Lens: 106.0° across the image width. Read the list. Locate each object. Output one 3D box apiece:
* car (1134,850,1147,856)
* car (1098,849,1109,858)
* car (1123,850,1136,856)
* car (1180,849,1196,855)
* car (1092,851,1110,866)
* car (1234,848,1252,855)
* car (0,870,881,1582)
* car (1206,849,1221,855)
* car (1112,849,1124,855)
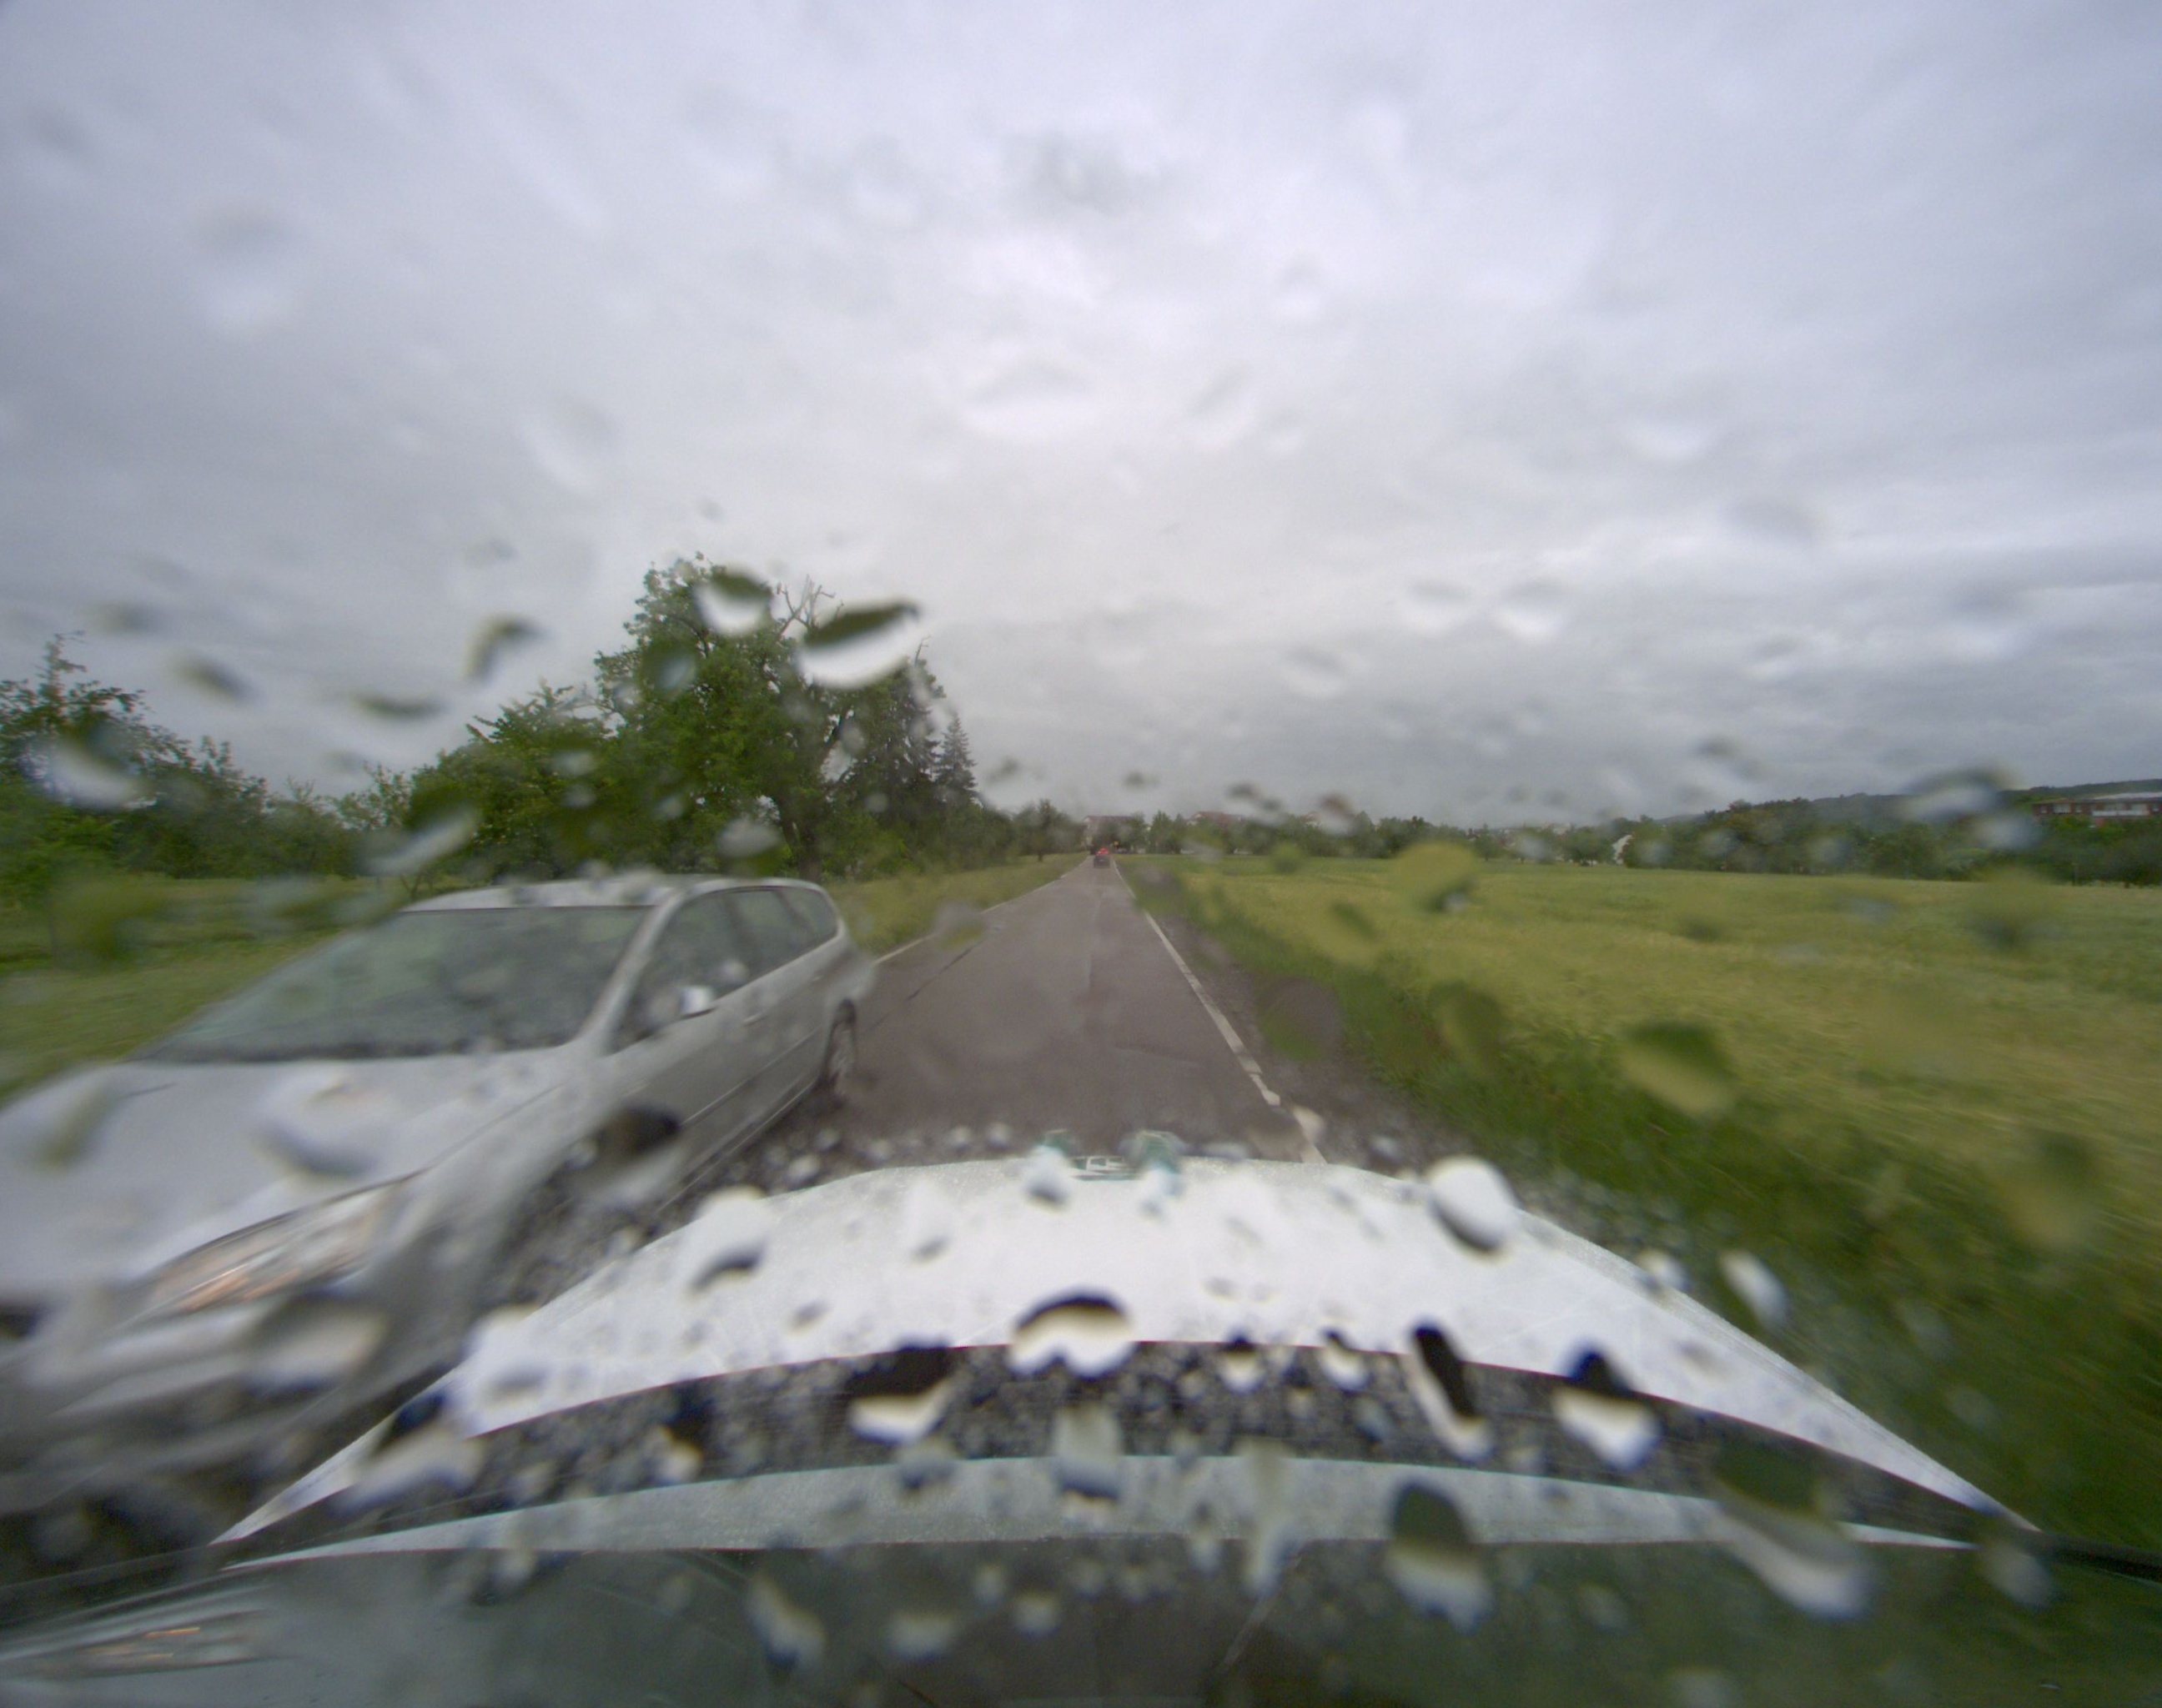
[{"bbox_3d":[16.018,-0.267,218.955,1.645,1.546,4.025,-1,-1,37],"label":"car"},{"bbox_3d":[4.208,-0.096,152.173,1.807,1.594,4.002,0,-1,3],"label":"car"},{"bbox_3d":[12.829,-0.338,214.774,1.645,1.546,4.025,-1,-1,37],"label":"car"},{"bbox_3d":[23.770,-0.457,180.482,3.365,1.371,1.554,0,-1,14],"label":"car"},{"bbox_3d":[2.208,0.481,87.797,1.807,1.594,4.002,0,-1,3],"label":"car"},{"bbox_3d":[35.318,-0.526,177.359,3.682,1.564,1.616,0,-1,14],"label":"car"},{"bbox_3d":[-2.331,0.816,3.771,1.733,1.471,4.123,0,-1,1],"label":"car"},{"bbox_3d":[29.191,-0.486,179.116,3.169,1.371,1.578,0,-1,14],"label":"car"},{"bbox_3d":[9.495,-0.522,208.942,1.645,1.546,4.023,-1,-1,26],"label":"car"}]
